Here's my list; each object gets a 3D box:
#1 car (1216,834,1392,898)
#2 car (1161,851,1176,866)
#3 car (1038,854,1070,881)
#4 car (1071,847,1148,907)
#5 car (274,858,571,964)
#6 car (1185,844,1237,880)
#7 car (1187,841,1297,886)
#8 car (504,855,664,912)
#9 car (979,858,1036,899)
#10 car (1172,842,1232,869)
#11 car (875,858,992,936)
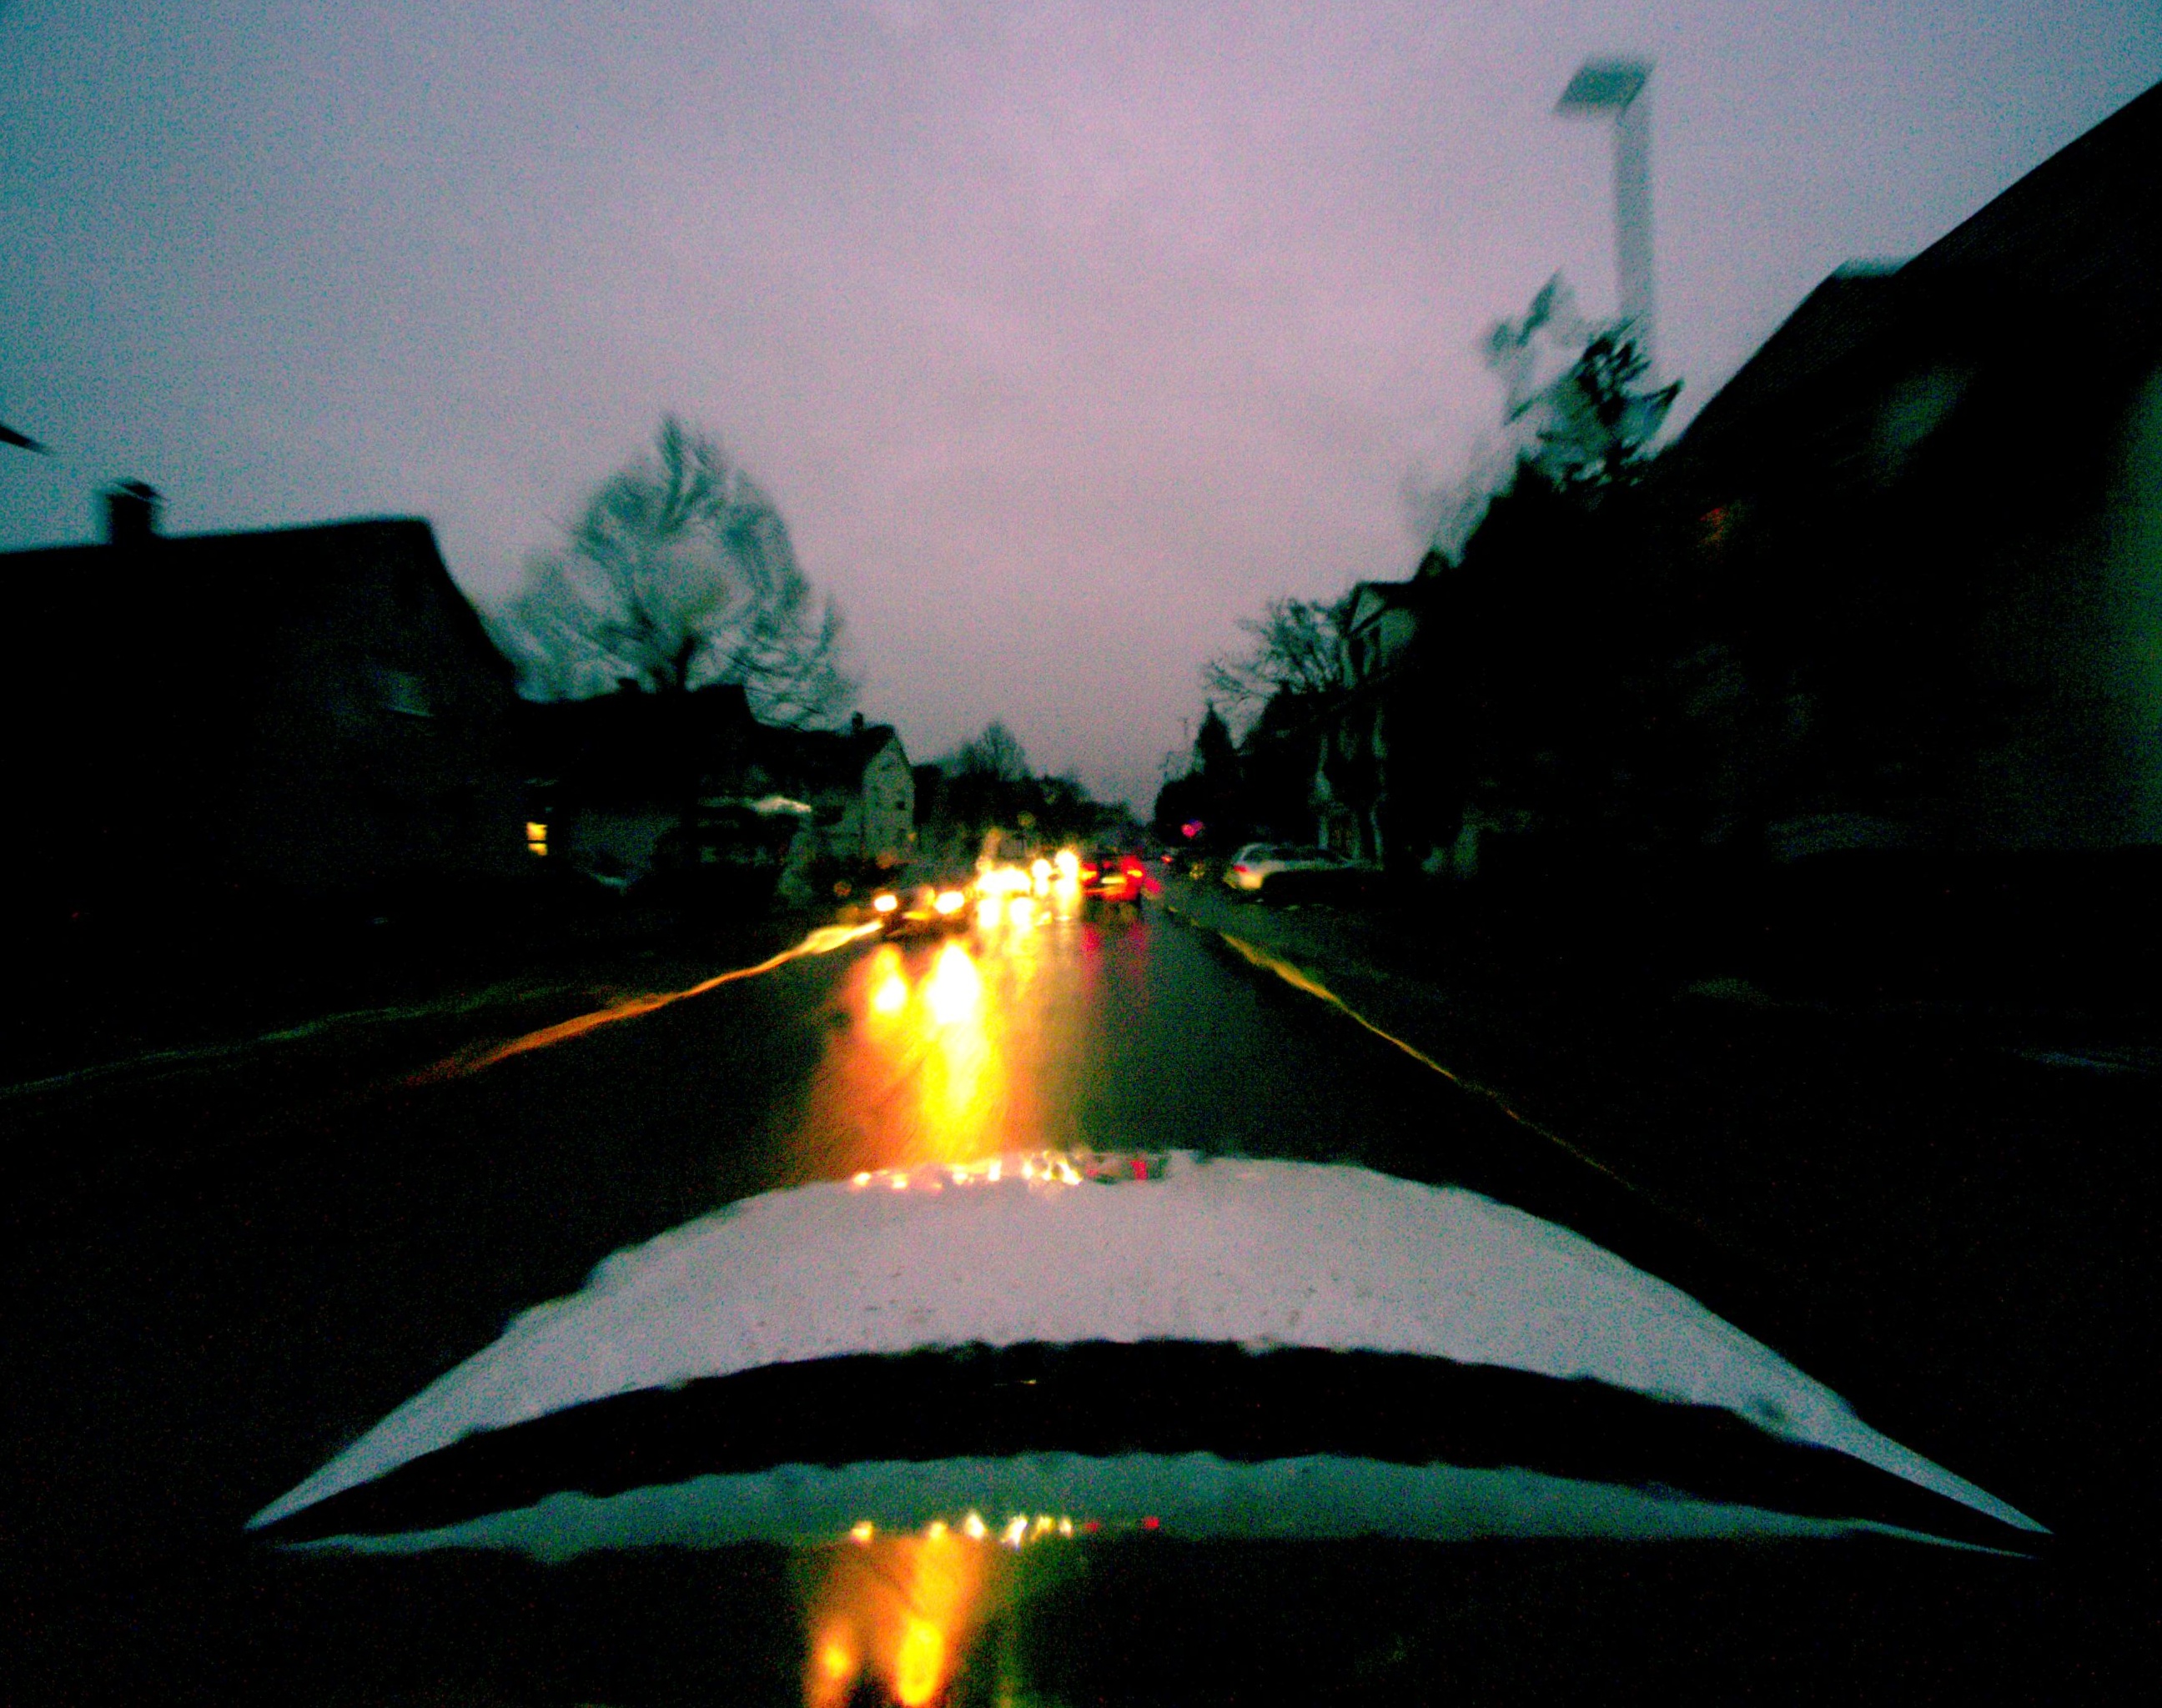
[{"bbox_3d":[6.415,0.334,23.929,4.708,1.629,1.911,-2,0,7],"label":"car"},{"bbox_3d":[12.342,0.563,114.756,1.983,2.013,4.007,-2,0,6],"label":"car"},{"bbox_3d":[-1.803,0.877,55.015,1.807,1.633,4.226,-3,0,1],"label":"car"},{"bbox_3d":[0.774,0.580,23.102,1.986,1.525,4.001,-1,0,1],"label":"car"},{"bbox_3d":[-12.738,0.992,16.258,1.985,1.756,4.572,-2,0,3],"label":"car"},{"bbox_3d":[6.220,0.351,39.435,1.885,1.554,4.758,-1,0,2],"label":"car"},{"bbox_3d":[6.456,0.384,33.078,4.087,1.706,2.000,-1,-1,1],"label":"car"},{"bbox_3d":[-17.270,0.999,28.389,4.525,1.800,1.917,-2,0,9],"label":"car"},{"bbox_3d":[-2.901,0.921,32.982,1.698,1.441,4.426,-3,0,1],"label":"car"},{"bbox_3d":[9.327,0.096,62.807,4.305,1.732,2.001,-4,0,2],"label":"car"},{"bbox_3d":[-3.111,0.855,17.996,1.698,1.441,4.001,-3,0,1],"label":"car"}]
